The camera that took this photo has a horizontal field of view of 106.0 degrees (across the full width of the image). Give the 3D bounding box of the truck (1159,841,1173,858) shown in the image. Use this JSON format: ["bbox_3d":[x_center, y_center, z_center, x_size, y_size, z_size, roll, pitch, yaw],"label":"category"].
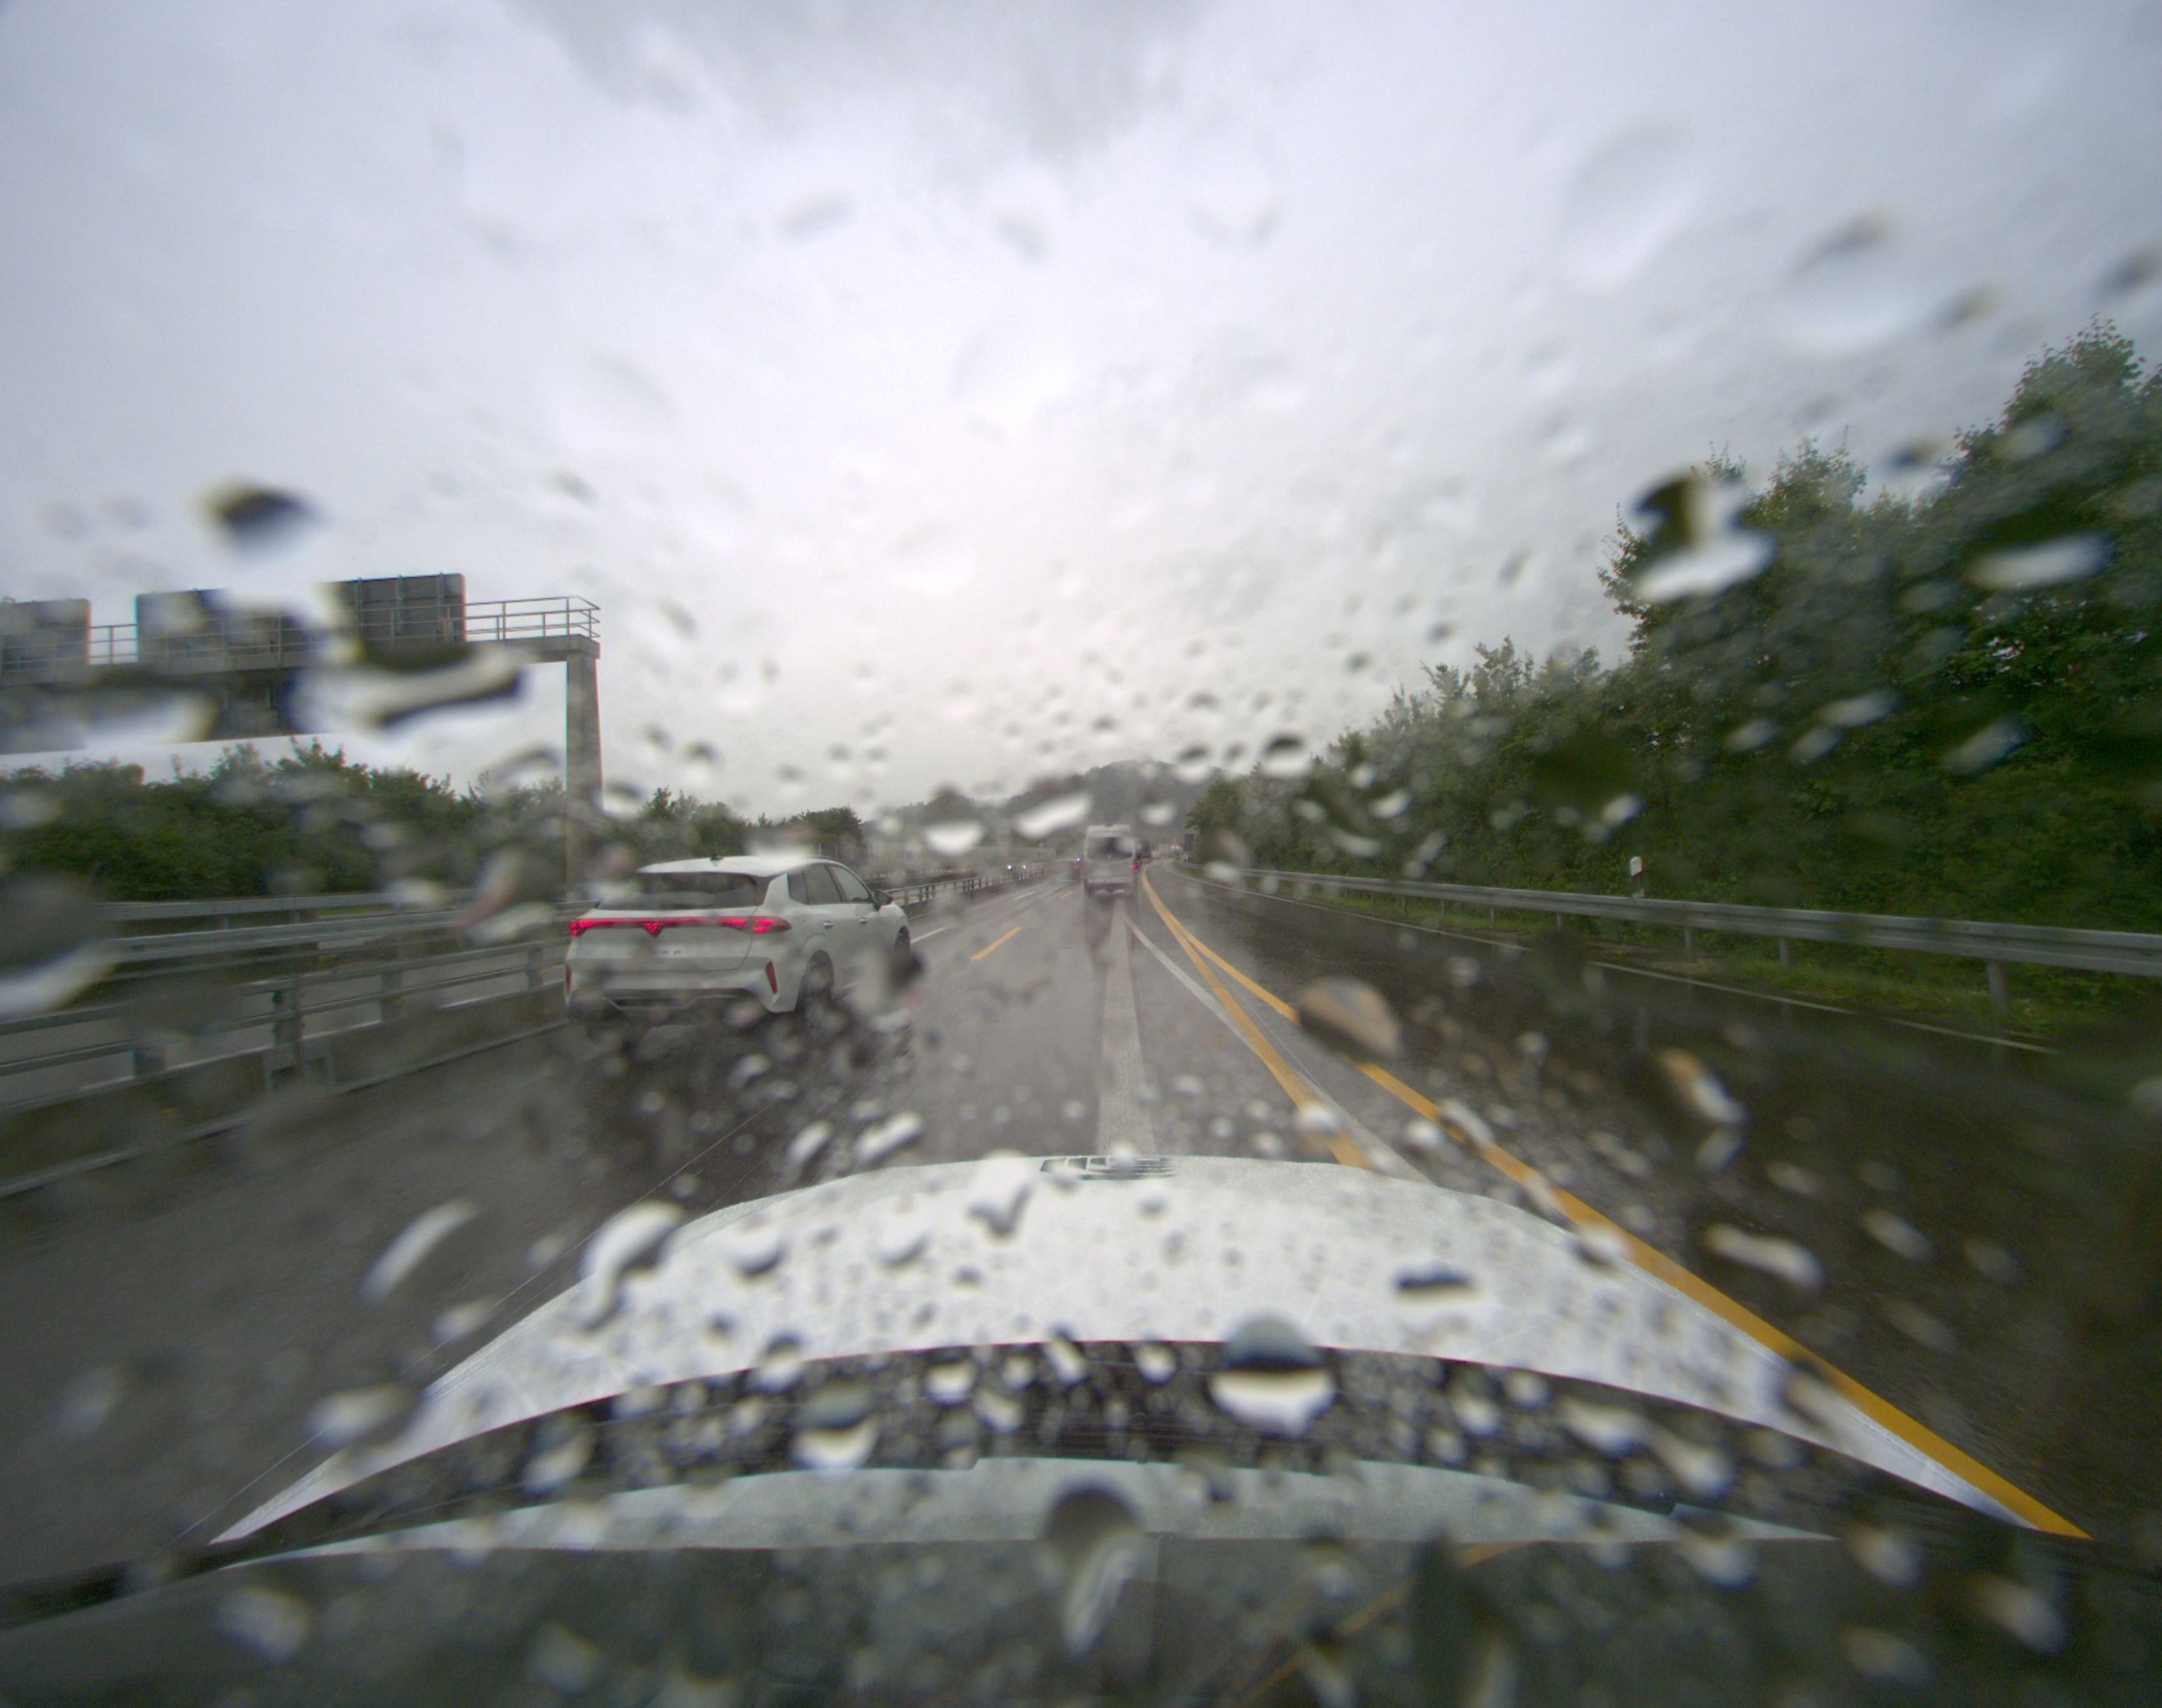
[{"bbox_3d":[23.635,-1.183,225.931,3.017,4.406,9.649,0,-1,10],"label":"truck"}]

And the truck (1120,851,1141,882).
[{"bbox_3d":[5.246,1.316,85.552,1.984,3.109,8.509,0,-1,5],"label":"truck"}]

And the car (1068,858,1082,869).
[{"bbox_3d":[-0.890,1.431,122.472,1.771,1.604,4.320,0,-1,3],"label":"car"}]

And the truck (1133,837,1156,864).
[{"bbox_3d":[11.073,-0.532,141.283,3.562,4.406,9.642,0,-1,7],"label":"truck"}]

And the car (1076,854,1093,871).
[{"bbox_3d":[0.365,0.873,81.991,1.701,1.627,4.000,0,-1,1],"label":"car"}]

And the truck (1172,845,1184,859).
[{"bbox_3d":[31.054,-0.665,259.959,2.878,4.406,9.658,0,-1,13],"label":"truck"}]

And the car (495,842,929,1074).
[{"bbox_3d":[-3.040,0.751,8.108,1.986,1.617,4.798,0,-1,2],"label":"car"}]

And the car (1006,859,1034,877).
[{"bbox_3d":[-5.516,1.259,74.133,1.838,1.502,4.135,0,-1,5],"label":"car"}]

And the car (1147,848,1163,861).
[{"bbox_3d":[17.293,0.183,189.683,2.880,2.887,6.430,0,-1,11],"label":"car"}]

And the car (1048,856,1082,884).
[{"bbox_3d":[-0.978,0.931,48.827,1.941,1.561,3.997,0,-1,-1],"label":"car"}]

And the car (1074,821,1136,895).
[{"bbox_3d":[1.005,0.163,30.991,2.135,2.571,5.394,0,-1,4],"label":"car"}]
